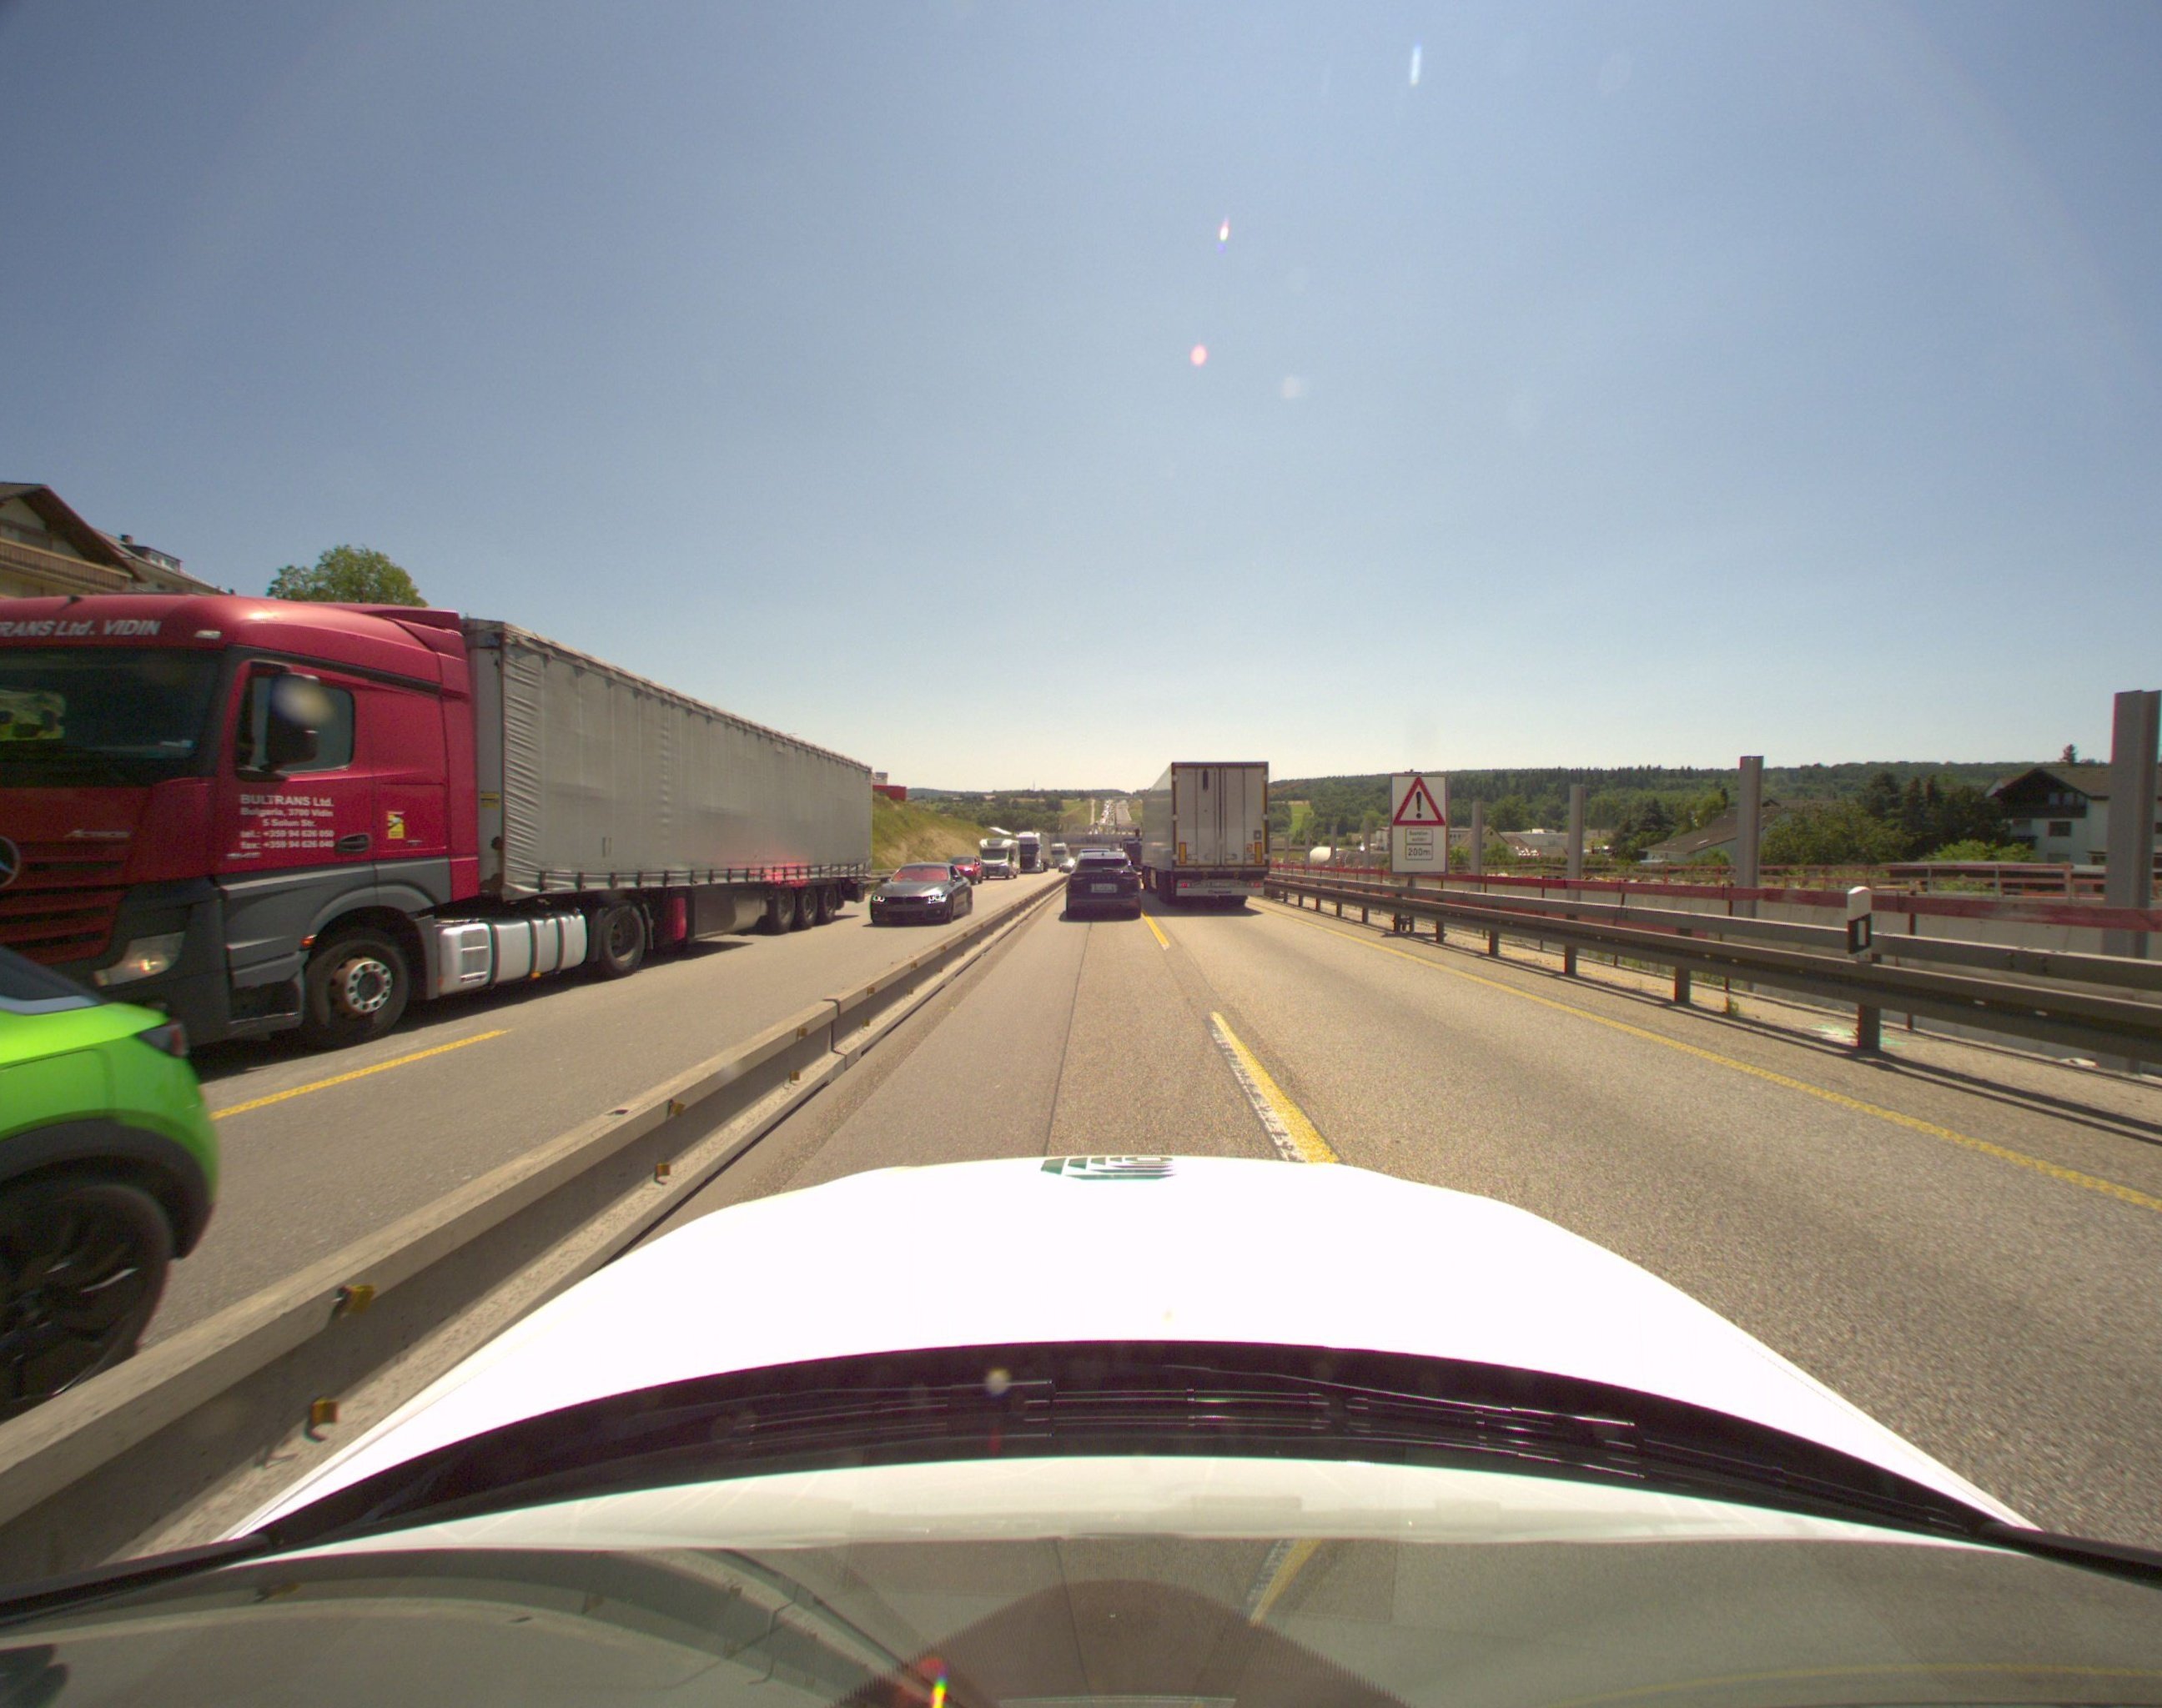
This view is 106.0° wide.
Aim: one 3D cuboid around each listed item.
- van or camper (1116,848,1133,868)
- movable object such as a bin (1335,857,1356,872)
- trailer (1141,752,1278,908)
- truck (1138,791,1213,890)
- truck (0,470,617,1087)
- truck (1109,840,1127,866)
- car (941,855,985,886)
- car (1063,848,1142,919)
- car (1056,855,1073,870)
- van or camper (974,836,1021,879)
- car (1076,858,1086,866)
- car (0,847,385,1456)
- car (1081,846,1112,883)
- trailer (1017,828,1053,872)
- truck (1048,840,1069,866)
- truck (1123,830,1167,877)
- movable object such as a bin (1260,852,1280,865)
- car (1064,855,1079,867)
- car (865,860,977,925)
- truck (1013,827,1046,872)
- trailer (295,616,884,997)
[{"bbox_3d":[5.244,0.485,97.921,1.986,2.244,4.002,1,0,2],"label":"van or camper"},{"bbox_3d":[40.482,1.590,124.767,1.986,2.239,4.154,0,-1,2],"label":"movable object such as a bin"},{"bbox_3d":[3.892,-0.525,28.403,2.791,4.058,14.119,-1,-1,1],"label":"trailer"},{"bbox_3d":[4.035,-0.519,35.818,2.767,4.058,4.905,-1,-1,1],"label":"truck"},{"bbox_3d":[-7.187,-0.504,7.750,2.811,4.124,4.599,0,0,1],"label":"truck"},{"bbox_3d":[5.827,-0.105,128.425,2.509,3.959,7.601,1,0,1],"label":"truck"},{"bbox_3d":[-6.374,0.851,44.387,1.710,1.552,4.265,-1,0,1],"label":"car"},{"bbox_3d":[0.550,0.677,20.444,1.794,1.620,3.299,-1,0,1],"label":"car"},{"bbox_3d":[-1.713,0.892,86.225,1.623,1.479,3.380,0,0,1],"label":"car"},{"bbox_3d":[-5.756,0.236,57.068,2.326,2.777,7.518,-1,0,1],"label":"van or camper"},{"bbox_3d":[-0.035,1.657,173.297,1.805,1.638,4.364,-1,0,2],"label":"car"},{"bbox_3d":[-3.602,0.743,1.110,1.747,1.508,4.001,1,0,2],"label":"car"},{"bbox_3d":[0.819,0.500,41.511,1.469,1.795,3.300,0,0,3],"label":"car"},{"bbox_3d":[-4.818,-0.389,87.428,2.800,4.287,14.037,0,0,1],"label":"trailer"},{"bbox_3d":[-3.628,-0.171,134.701,3.228,4.160,4.248,-1,-1,1],"label":"truck"},{"bbox_3d":[4.675,0.037,61.774,2.803,3.135,12.844,-1,-1,2],"label":"truck"},{"bbox_3d":[42.978,1.005,185.528,2.876,2.909,9.484,0,-1,2],"label":"movable object such as a bin"},{"bbox_3d":[-1.280,0.999,110.188,1.842,1.586,4.175,0,0,1],"label":"car"},{"bbox_3d":[-3.763,0.855,19.873,1.761,1.363,4.412,-1,0,1],"label":"car"},{"bbox_3d":[-4.942,-0.424,79.099,2.764,4.287,4.677,0,0,1],"label":"truck"},{"bbox_3d":[-6.978,-0.523,15.583,2.846,4.124,13.440,0,0,1],"label":"trailer"}]
